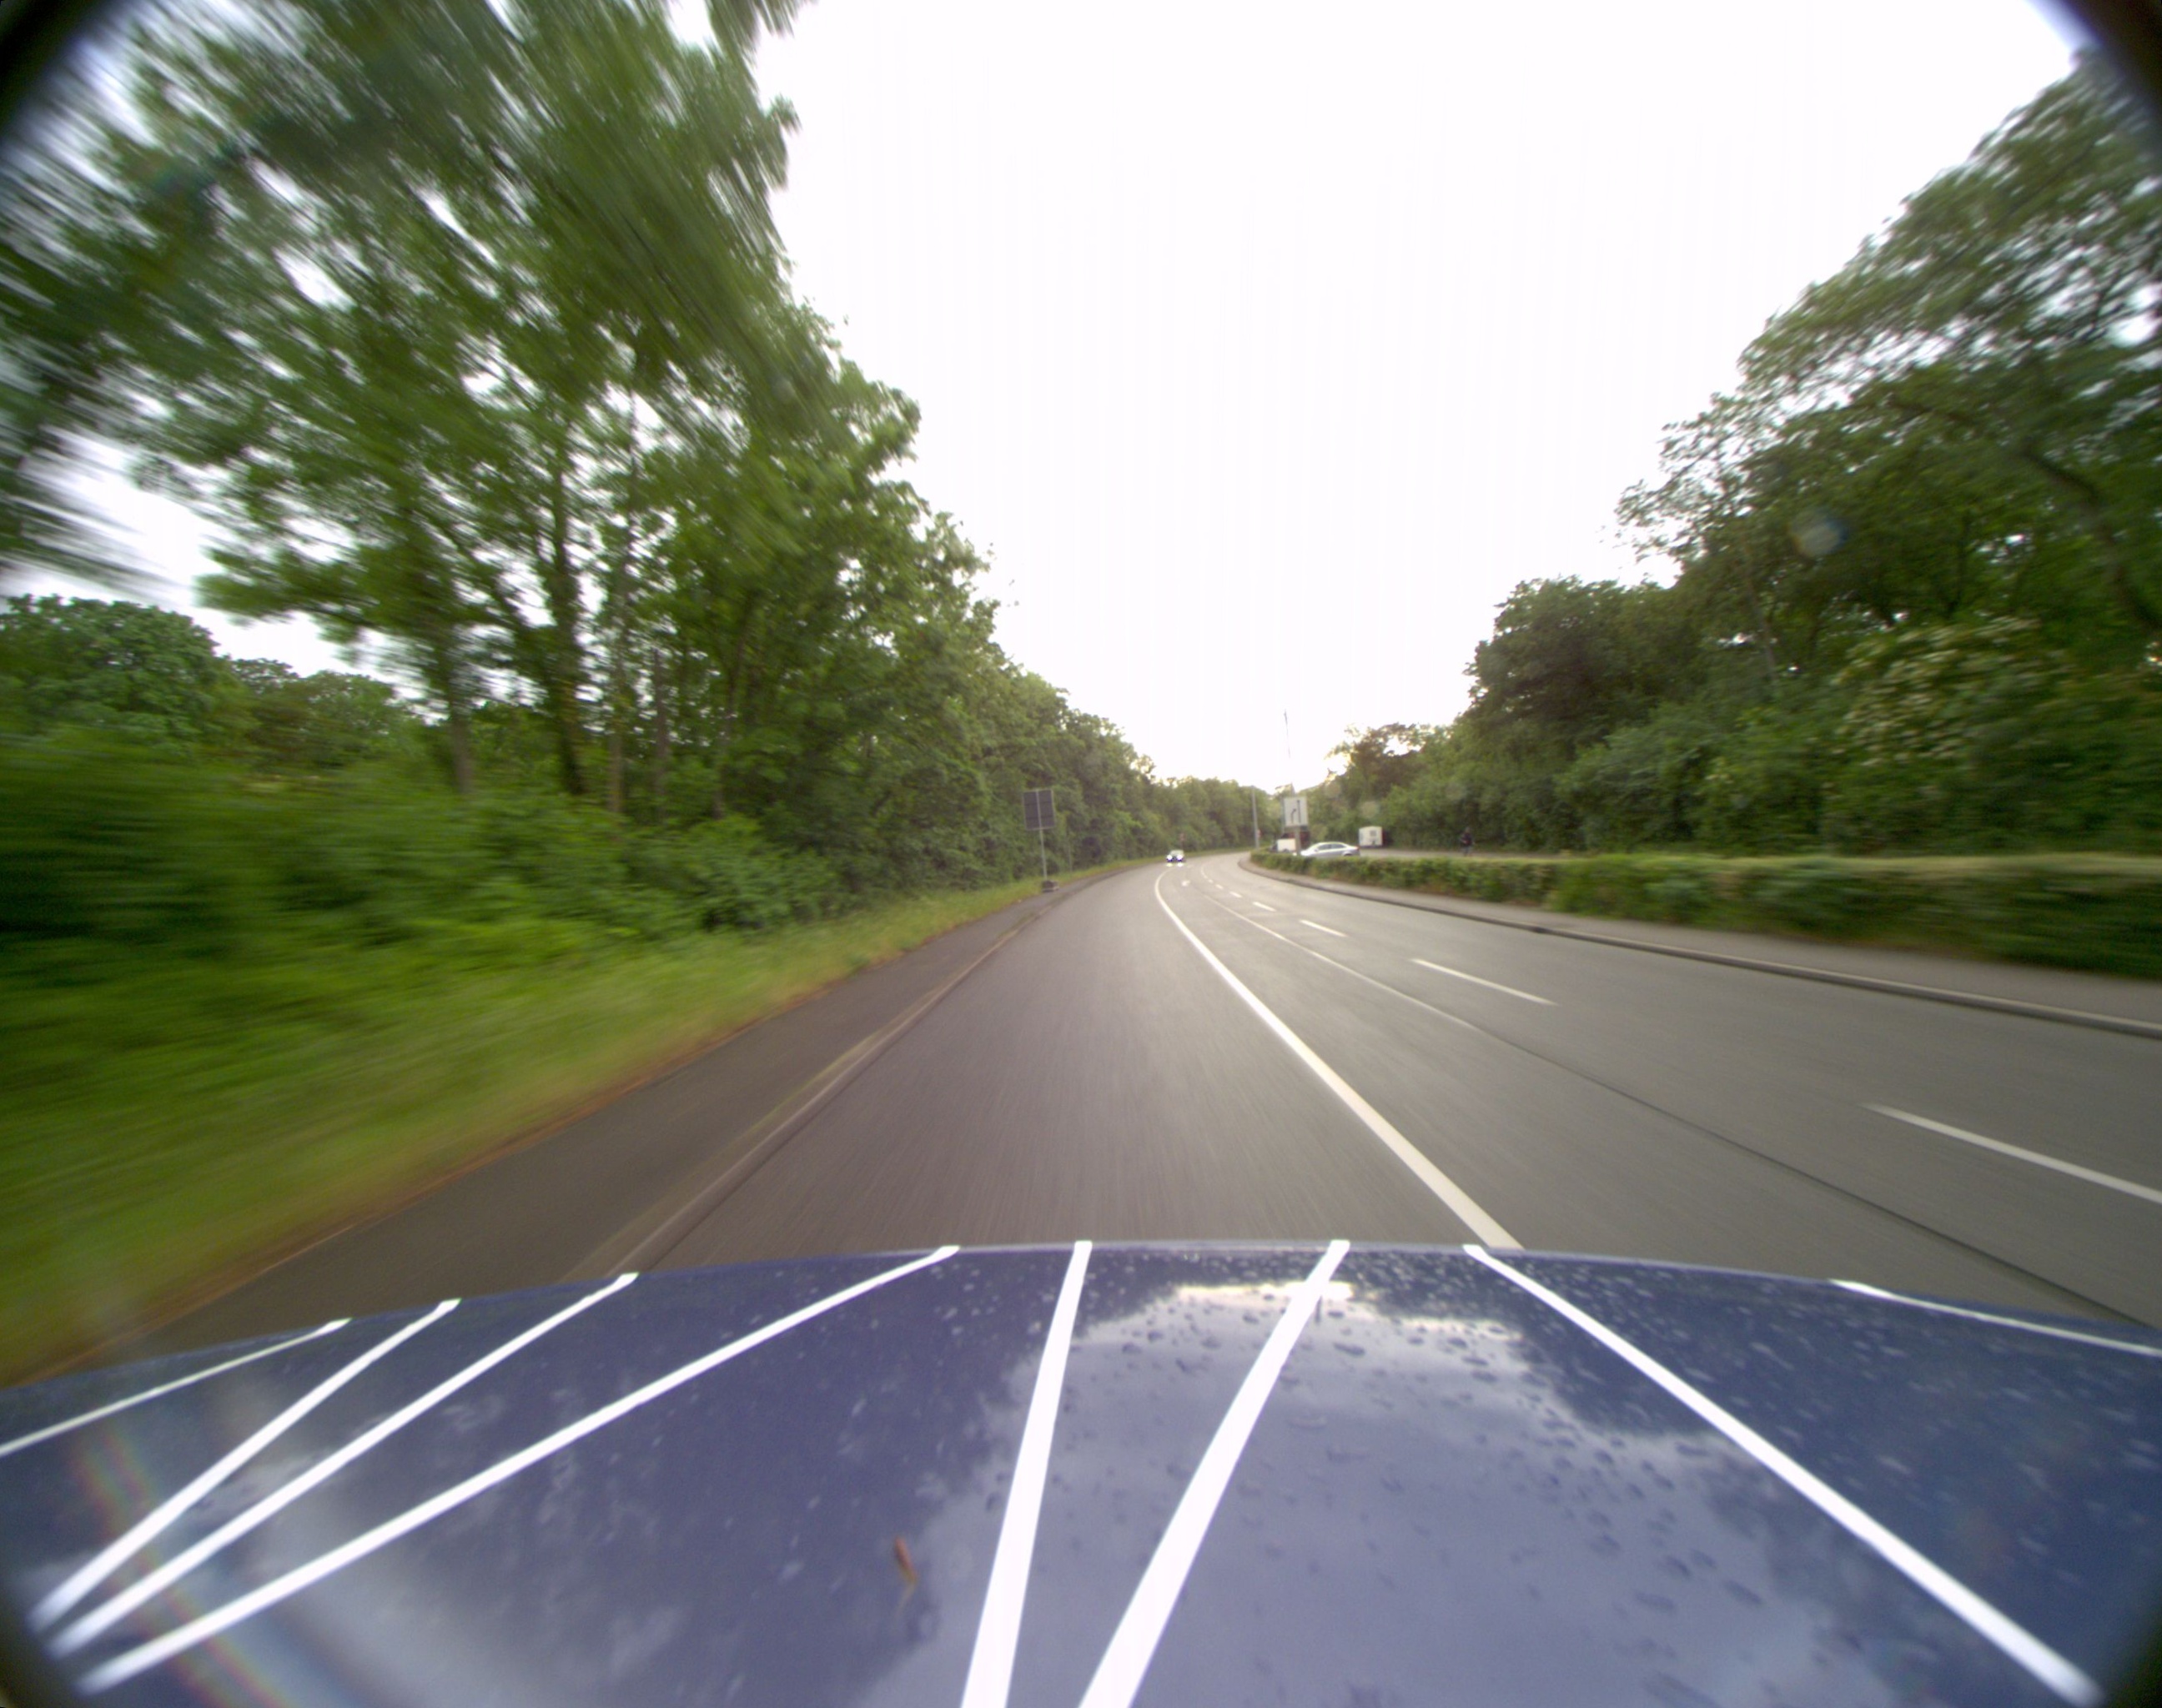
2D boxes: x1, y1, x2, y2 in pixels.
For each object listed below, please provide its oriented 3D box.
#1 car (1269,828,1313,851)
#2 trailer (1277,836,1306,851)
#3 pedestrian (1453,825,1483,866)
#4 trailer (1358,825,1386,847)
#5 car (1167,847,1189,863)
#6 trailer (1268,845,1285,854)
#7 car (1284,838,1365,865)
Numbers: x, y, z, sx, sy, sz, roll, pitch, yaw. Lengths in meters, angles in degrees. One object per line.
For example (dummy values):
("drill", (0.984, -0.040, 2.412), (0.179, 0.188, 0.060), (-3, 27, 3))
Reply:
("car", (31.883, -2.246, 115.482), (6.281, 3.096, 2.754), (-3, 2, 14))
("trailer", (30.516, -1.524, 110.227), (3.992, 2.041, 1.875), (-2, 1, 17))
("pedestrian", (17.721, -0.397, 34.836), (0.819, 1.787, 1.136), (-3, 1, 6))
("trailer", (38.975, -2.423, 101.962), (2.479, 2.857, 7.984), (-2, 1, 14))
("car", (11.326, 0.049, 88.505), (1.996, 1.674, 4.003), (-2, 1, 14))
("trailer", (23.328, -0.519, 90.810), (1.804, 1.028, 1.335), (-3, 1, 11))
("car", (15.923, -0.192, 49.848), (4.586, 1.497, 2.000), (-3, 1, 2))
